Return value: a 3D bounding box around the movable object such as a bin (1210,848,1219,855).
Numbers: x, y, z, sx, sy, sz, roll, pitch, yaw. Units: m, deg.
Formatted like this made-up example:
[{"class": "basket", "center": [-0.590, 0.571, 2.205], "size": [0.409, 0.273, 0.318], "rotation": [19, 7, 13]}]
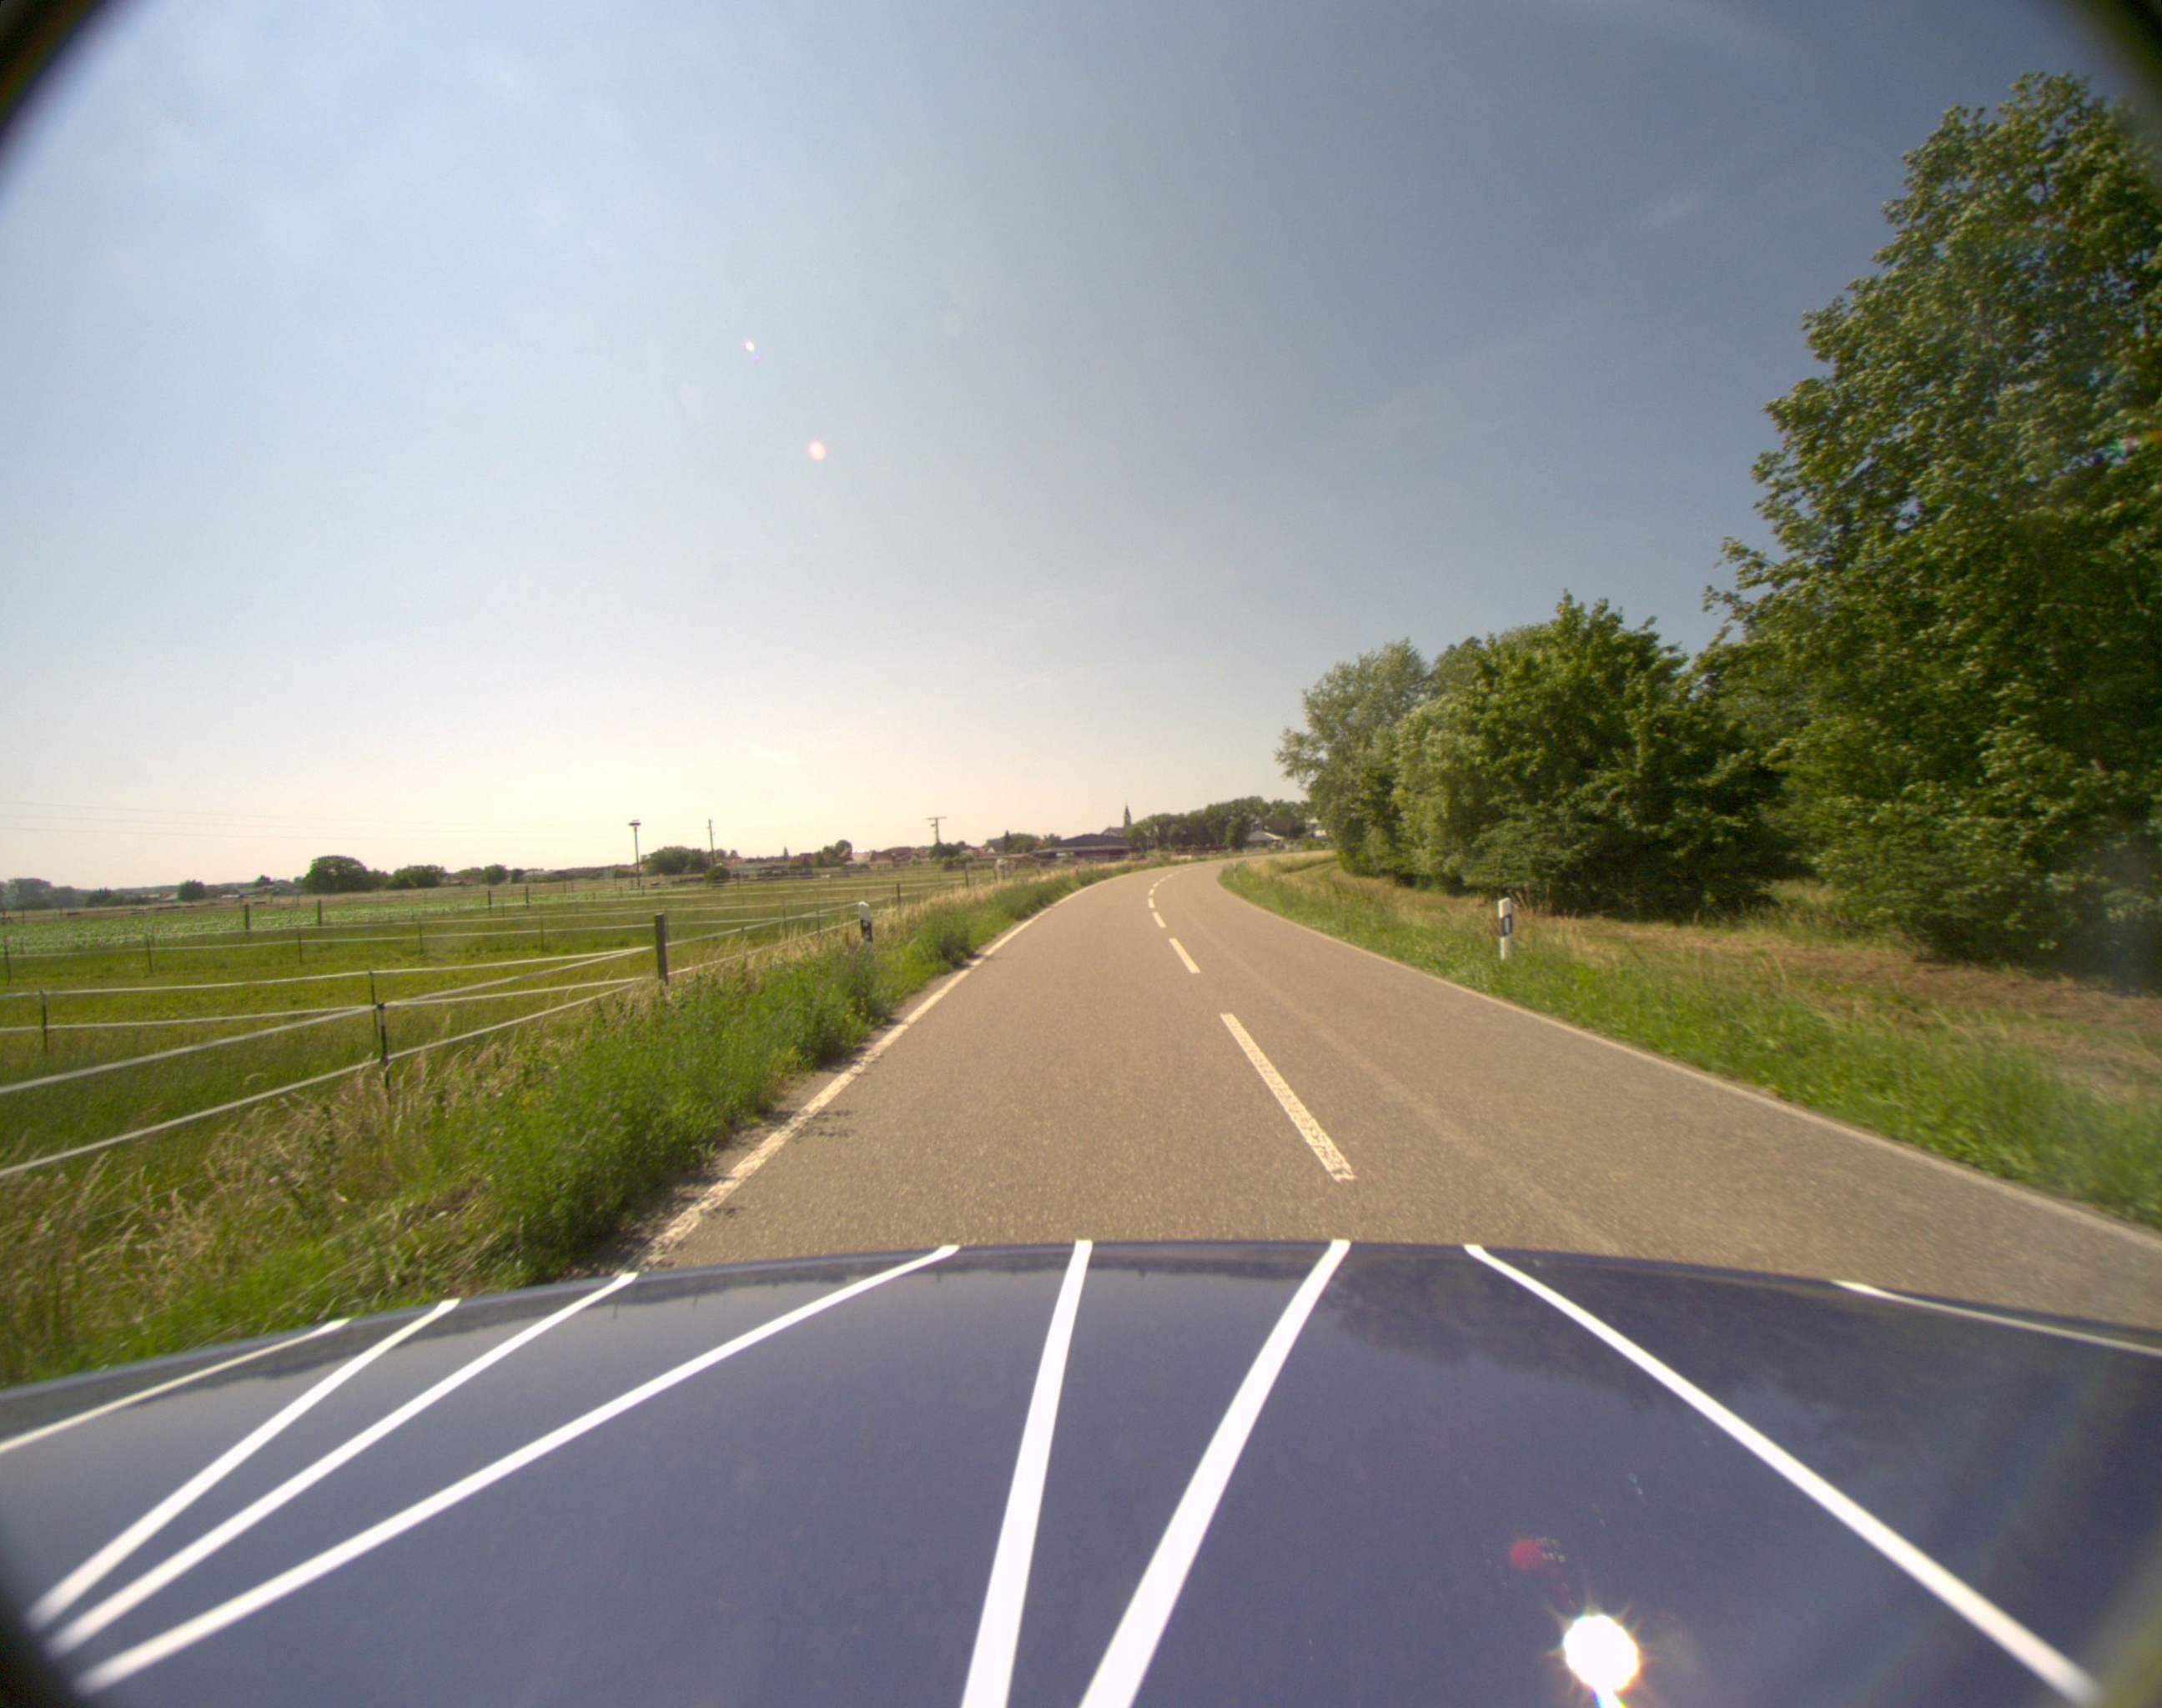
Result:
[{"class": "movable object such as a bin", "center": [27.923, -0.567, 158.933], "size": [1.517, 1.341, 1.372], "rotation": [-4, 1, -12]}]
